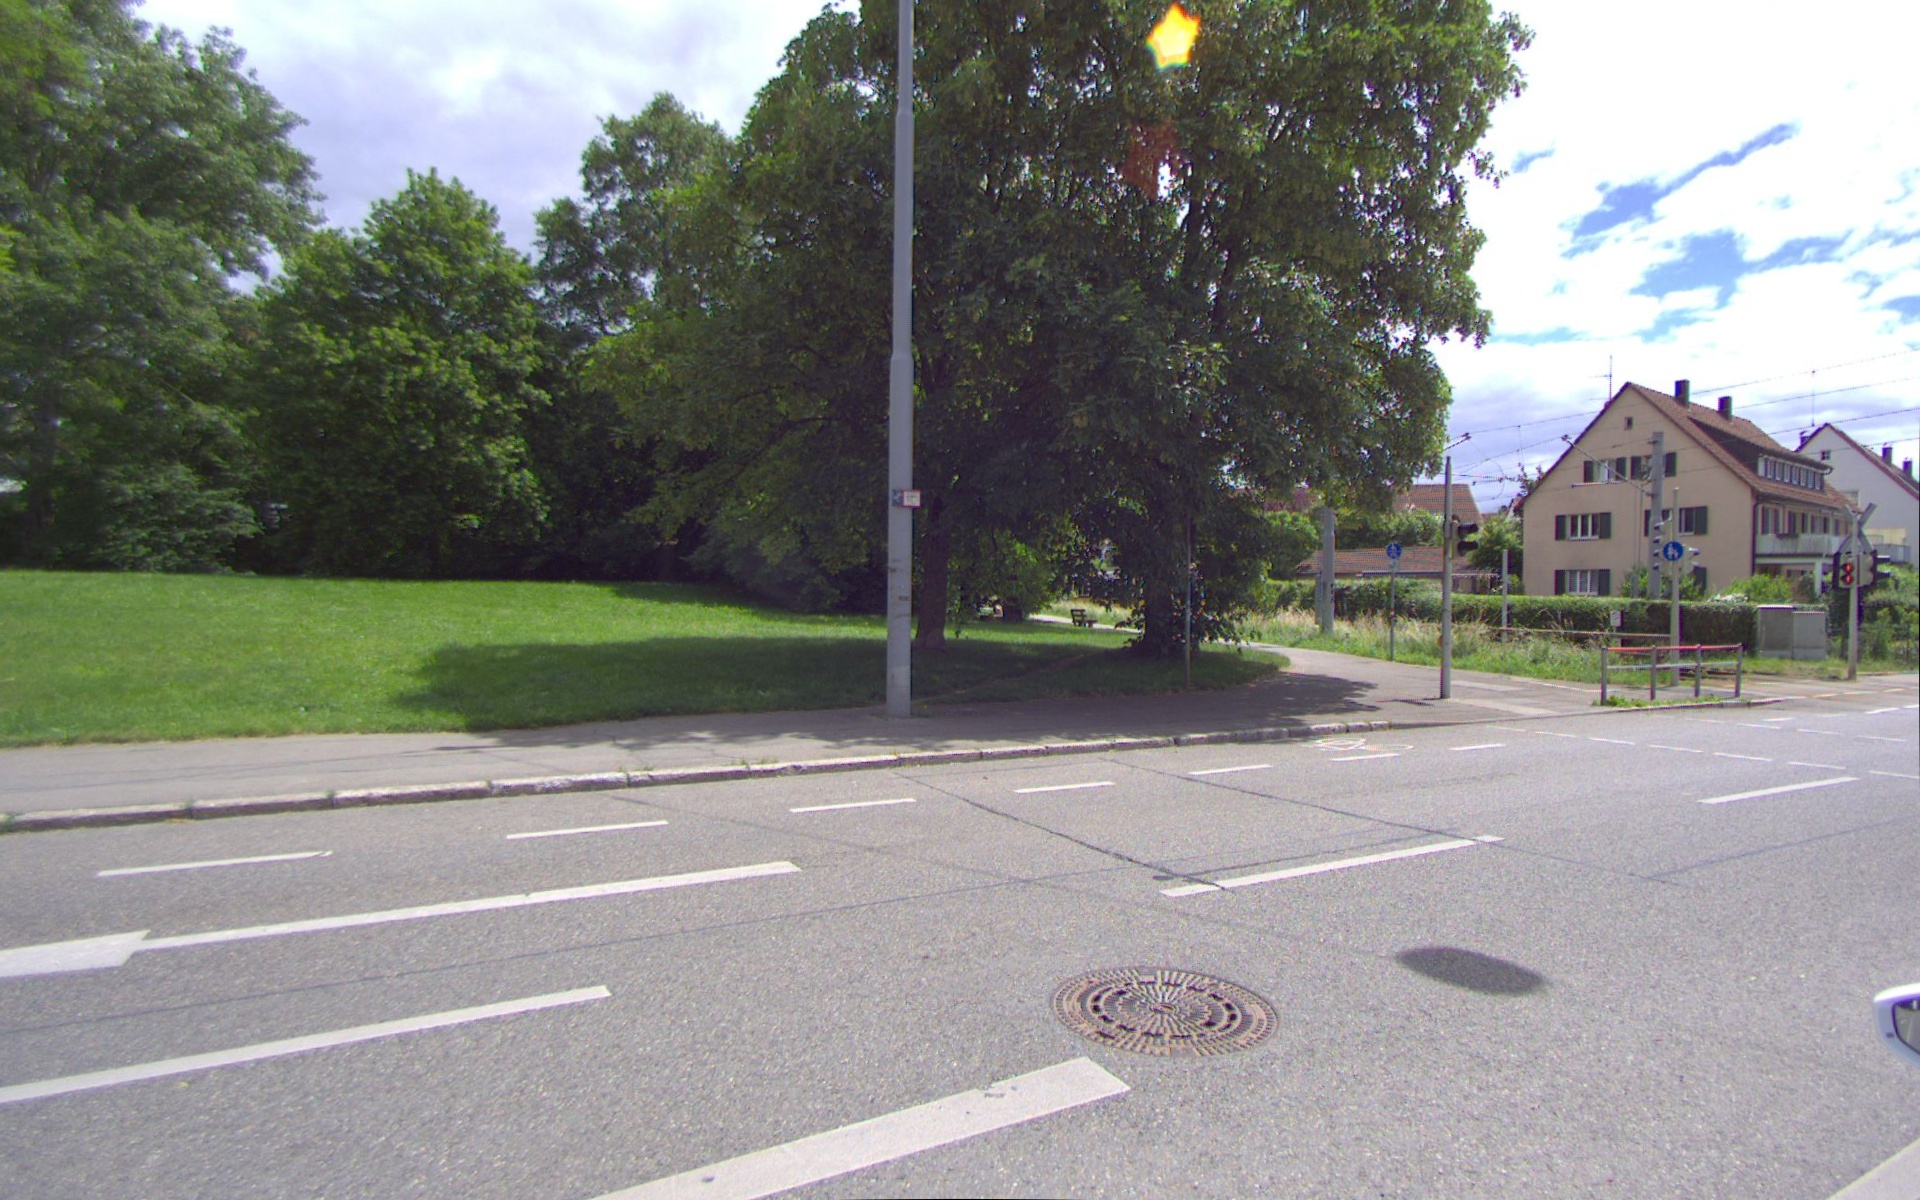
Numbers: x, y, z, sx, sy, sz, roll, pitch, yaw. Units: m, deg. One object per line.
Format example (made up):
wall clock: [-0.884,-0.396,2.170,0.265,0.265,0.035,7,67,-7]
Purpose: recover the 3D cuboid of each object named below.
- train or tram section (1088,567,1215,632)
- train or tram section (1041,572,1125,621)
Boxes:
train or tram section: [12.382,-0.127,68.039,2.864,3.754,19.098,1,1,-6]
train or tram section: [10.272,-0.343,87.010,2.864,3.754,19.098,1,1,-6]
